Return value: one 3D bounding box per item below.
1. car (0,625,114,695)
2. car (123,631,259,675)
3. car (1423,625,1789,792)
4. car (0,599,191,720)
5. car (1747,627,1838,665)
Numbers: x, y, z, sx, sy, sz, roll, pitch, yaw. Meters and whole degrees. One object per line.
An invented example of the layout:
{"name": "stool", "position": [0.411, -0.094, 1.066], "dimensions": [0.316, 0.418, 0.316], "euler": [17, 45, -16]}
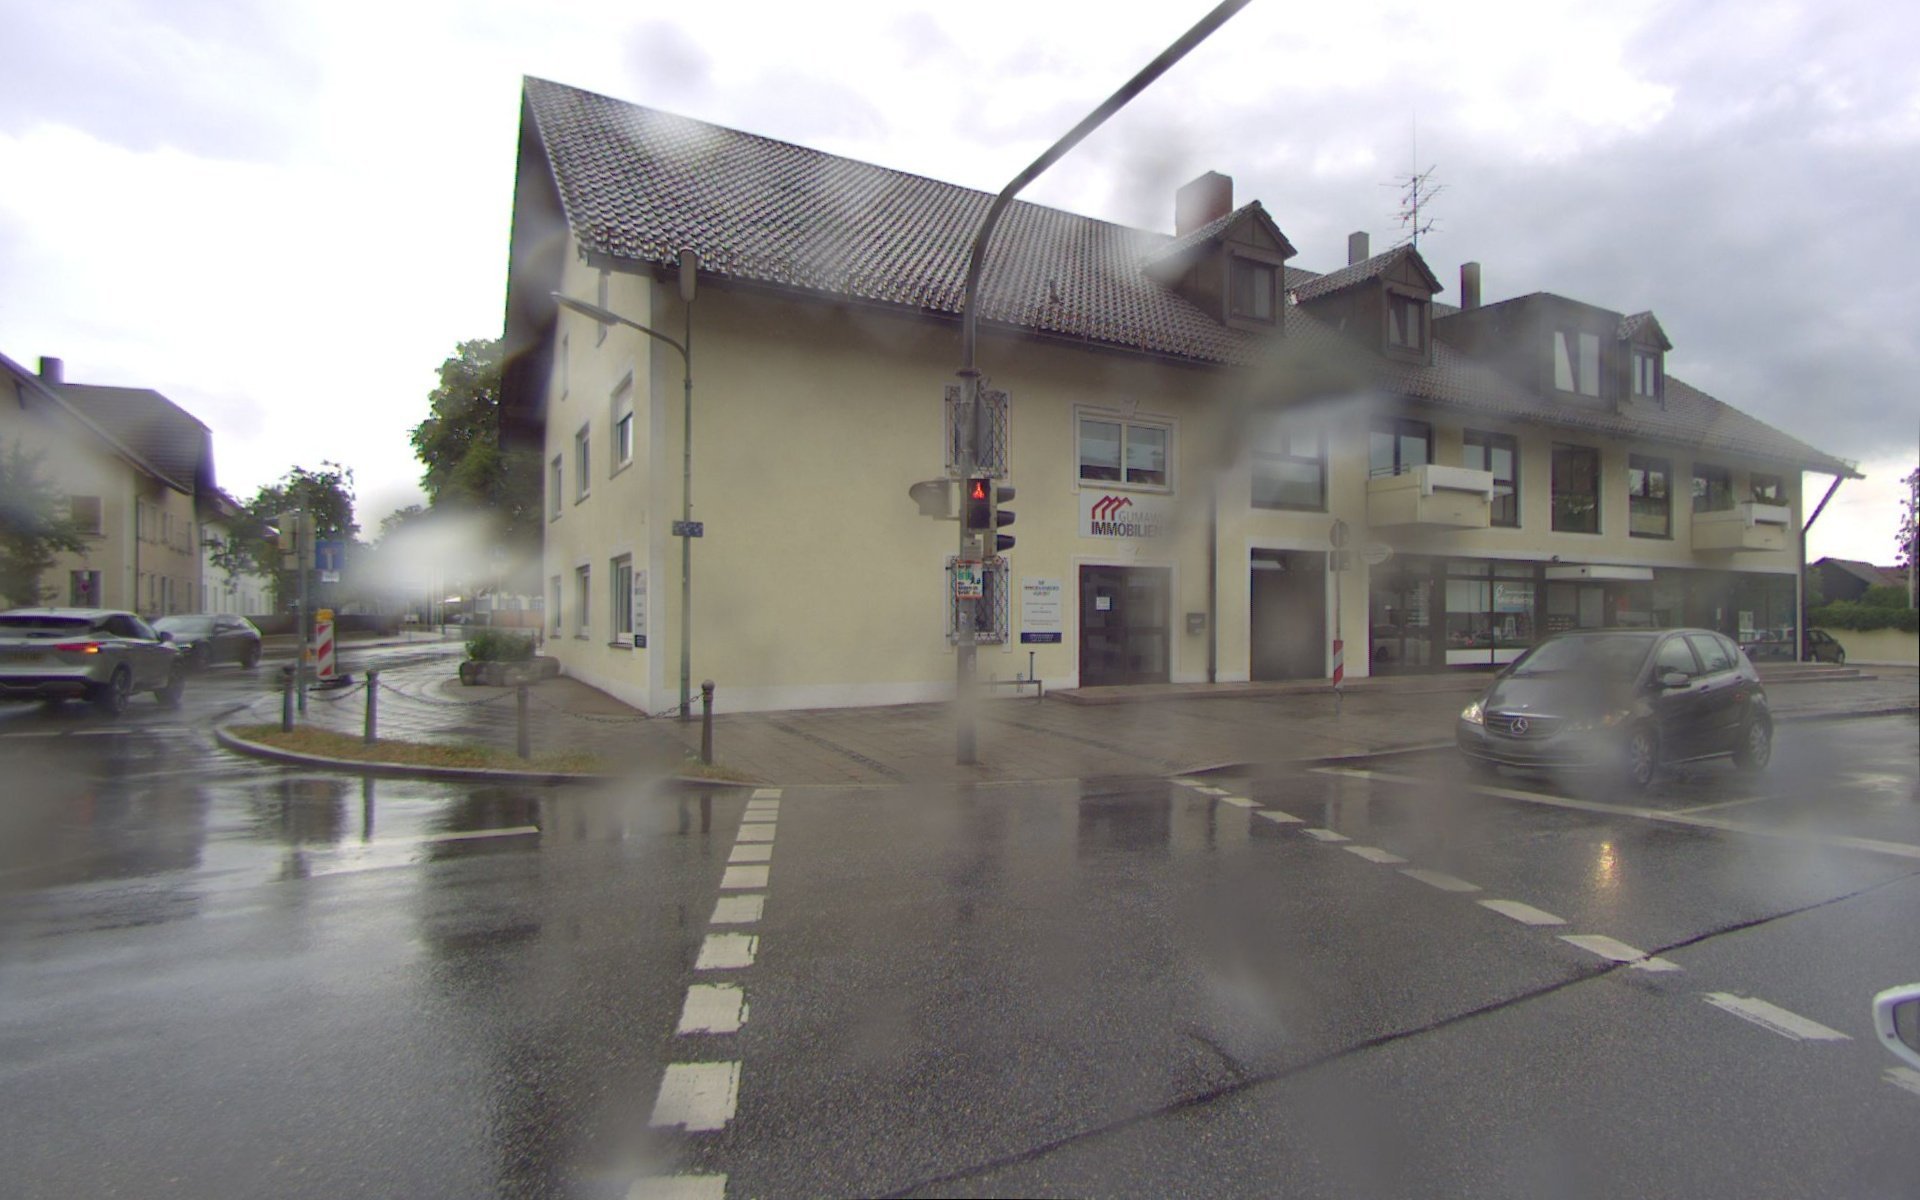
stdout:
{"name": "car", "position": [-18.333, 1.103, 19.172], "dimensions": [1.662, 1.201, 4.346], "euler": [1, -1, -16]}
{"name": "car", "position": [-20.059, 1.353, 26.384], "dimensions": [1.400, 1.030, 4.061], "euler": [1, -1, -16]}
{"name": "car", "position": [7.210, 1.072, 11.168], "dimensions": [3.854, 1.553, 1.907], "euler": [1, -2, -30]}
{"name": "car", "position": [-14.271, 0.924, 16.238], "dimensions": [2.062, 1.695, 4.358], "euler": [2, -3, -27]}
{"name": "car", "position": [31.952, 1.742, 38.551], "dimensions": [3.467, 1.398, 1.600], "euler": [1, -2, -30]}
